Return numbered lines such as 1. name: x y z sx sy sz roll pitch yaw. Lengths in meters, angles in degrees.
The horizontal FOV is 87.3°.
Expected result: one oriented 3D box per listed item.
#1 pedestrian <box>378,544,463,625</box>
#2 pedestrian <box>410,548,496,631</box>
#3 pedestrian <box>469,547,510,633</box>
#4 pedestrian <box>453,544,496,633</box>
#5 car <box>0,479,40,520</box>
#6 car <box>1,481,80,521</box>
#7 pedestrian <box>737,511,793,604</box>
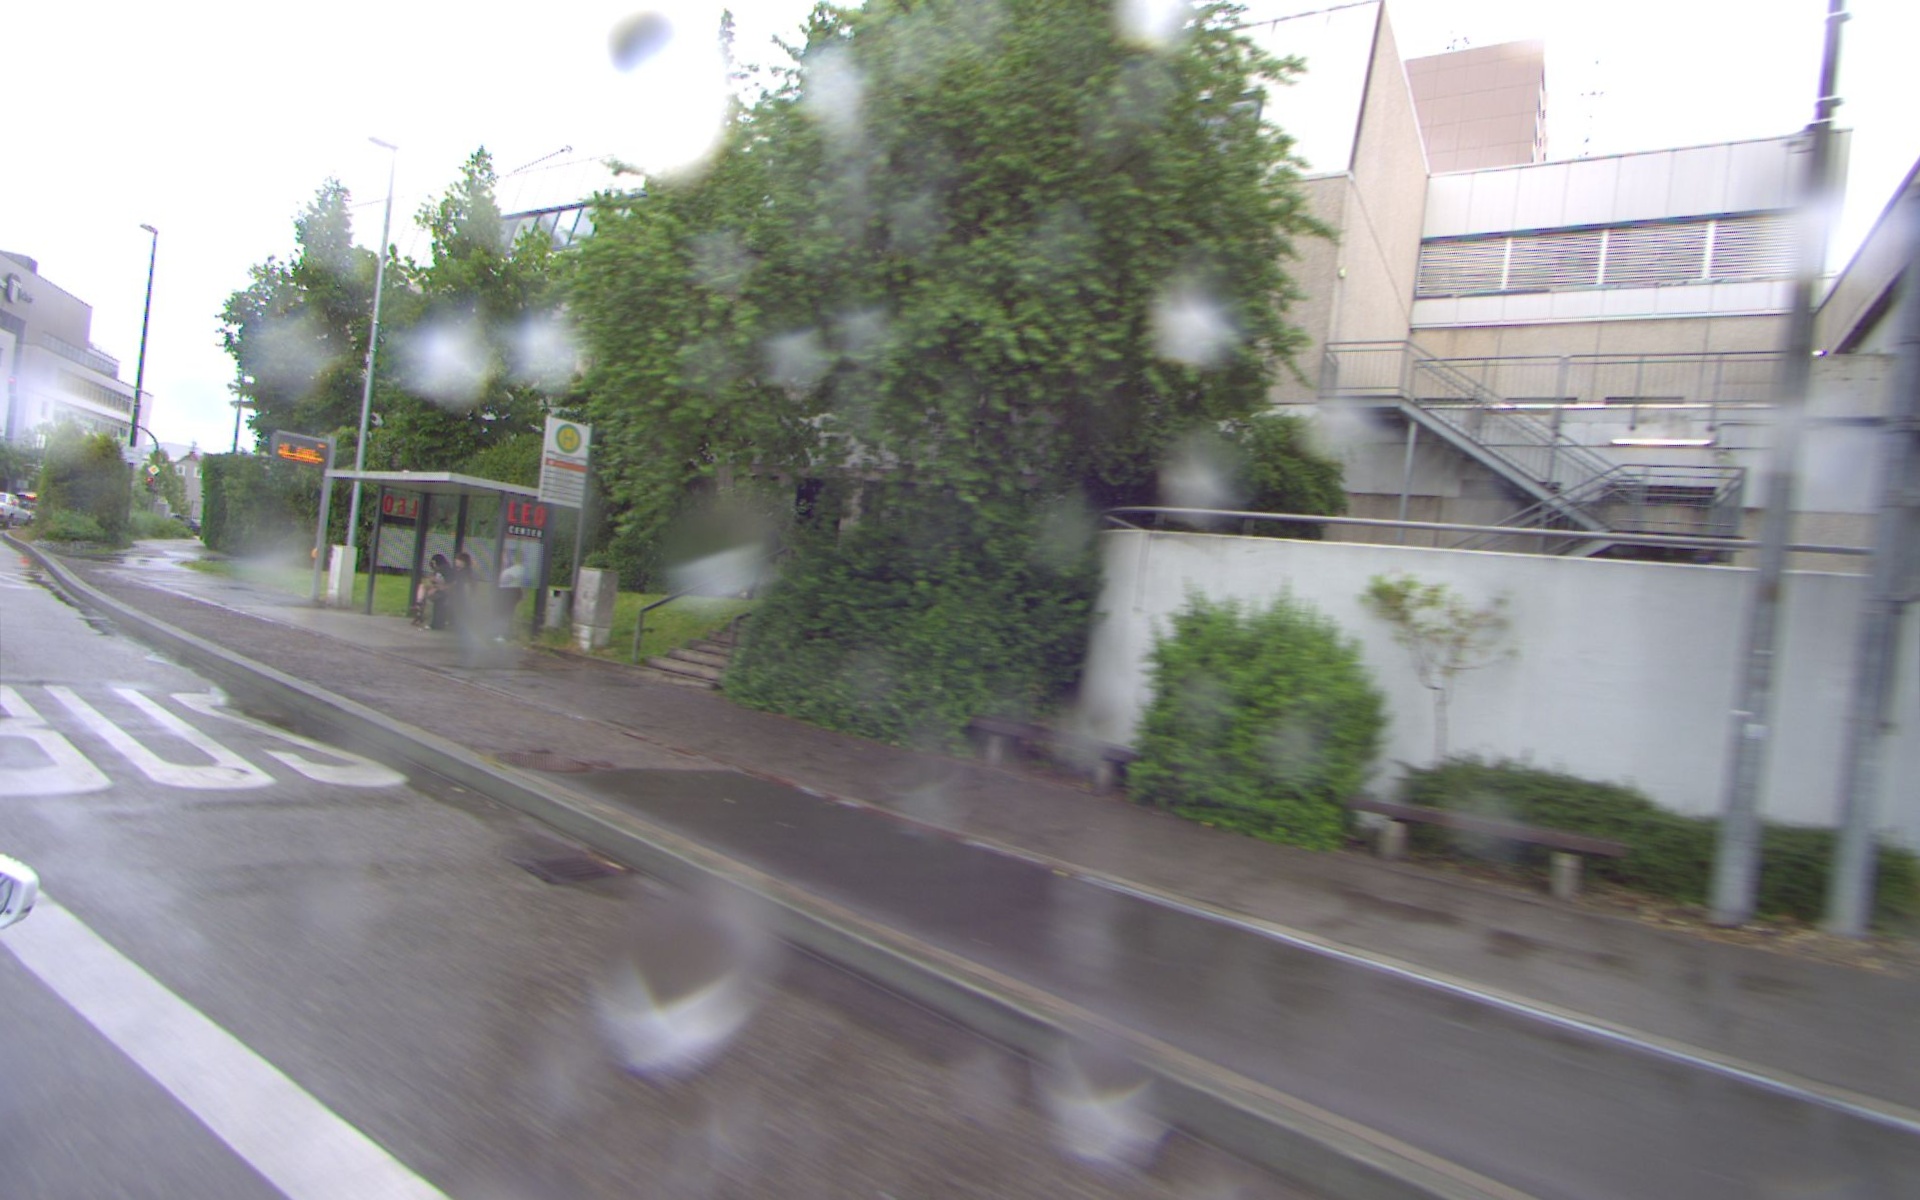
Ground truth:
1. pedestrian: -9.377 -0.263 17.494 0.681 1.298 1.029 8 3 34
2. pedestrian: -8.677 -0.172 17.233 0.681 1.298 1.029 8 3 34
3. pedestrian: -7.881 -0.171 16.866 0.405 1.383 0.541 5 3 -13
4. pedestrian: -7.832 -0.187 16.234 0.405 1.383 0.541 5 3 -12
5. car: -38.157 -4.066 39.869 1.623 1.465 4.232 8 -1 -32
6. car: -41.241 -4.415 45.197 1.899 1.418 3.427 7 1 -32
7. pedestrian: -4.036 -0.875 20.839 0.662 1.819 0.673 7 0 31
